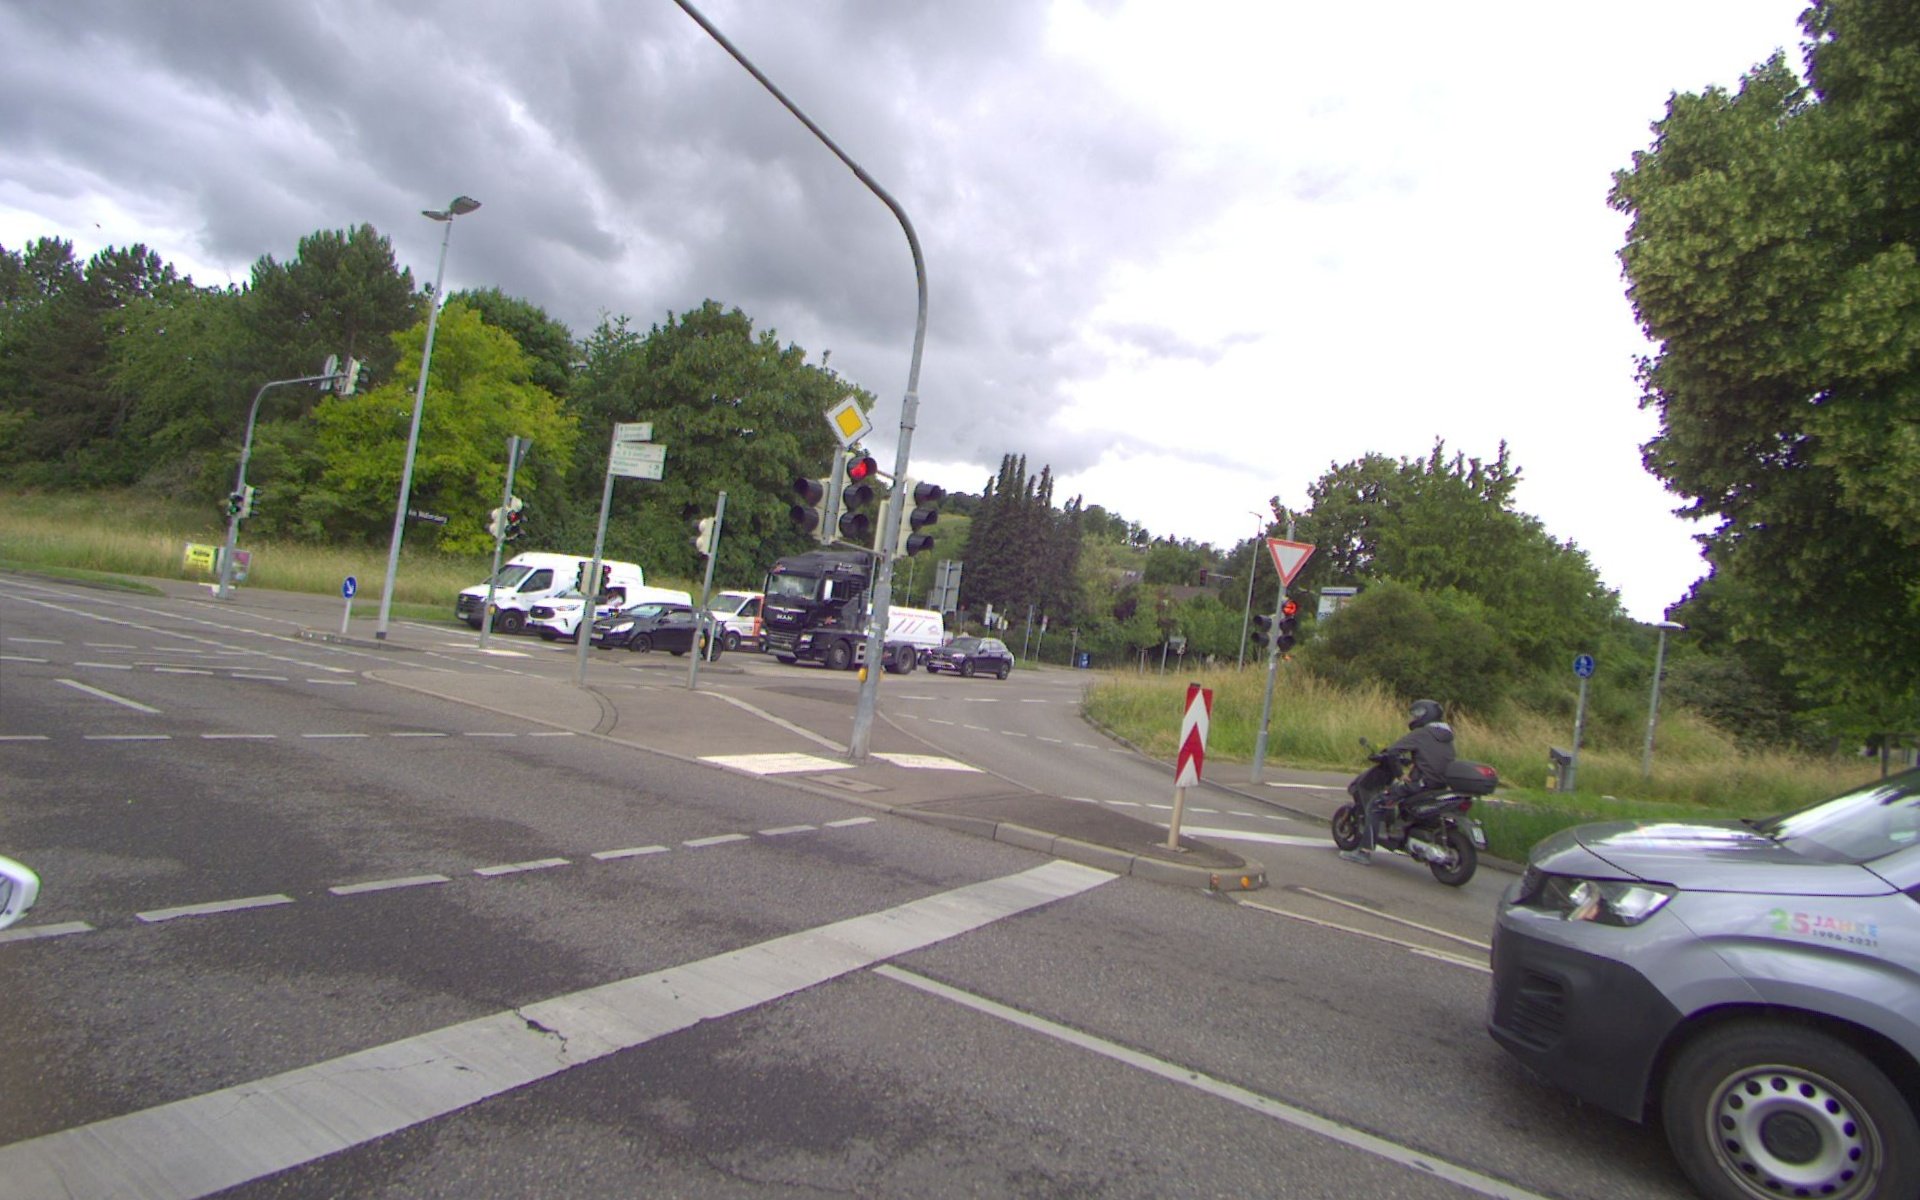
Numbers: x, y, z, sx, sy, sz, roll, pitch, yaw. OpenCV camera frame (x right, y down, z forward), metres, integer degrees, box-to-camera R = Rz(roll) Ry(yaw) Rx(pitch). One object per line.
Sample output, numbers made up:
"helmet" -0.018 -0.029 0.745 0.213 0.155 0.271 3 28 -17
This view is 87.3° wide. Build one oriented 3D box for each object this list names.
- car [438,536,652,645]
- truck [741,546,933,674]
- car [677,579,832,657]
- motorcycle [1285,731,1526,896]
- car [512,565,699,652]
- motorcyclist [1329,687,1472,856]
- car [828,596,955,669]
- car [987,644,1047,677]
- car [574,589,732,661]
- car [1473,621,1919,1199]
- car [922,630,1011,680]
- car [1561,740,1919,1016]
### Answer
"car" -13.101 -0.200 32.251 2.192 2.689 5.950 5 -3 33
"truck" -4.010 0.430 34.061 3.025 3.558 5.950 5 -3 33
"car" -7.983 0.781 39.730 2.193 2.413 5.948 5 -3 35
"motorcycle" 4.204 1.996 9.708 0.750 1.102 2.059 9 -2 -23
"car" -10.572 0.321 30.393 2.086 2.013 4.981 4 -3 32
"motorcyclist" 4.249 1.639 9.740 0.750 1.437 0.813 9 -2 -23
"car" -3.099 1.626 47.611 2.193 2.751 6.674 5 -3 33
"car" 3.228 3.408 56.413 1.625 1.473 3.861 6 -2 32
"car" -8.263 0.717 27.367 1.610 1.458 3.859 6 -2 34
"car" 4.095 1.250 3.185 4.152 1.801 1.812 6 -1 31
"car" 0.321 2.251 40.568 1.722 1.593 3.861 6 -2 32
"car" 6.909 2.076 6.969 4.446 1.435 1.832 6 -4 38
